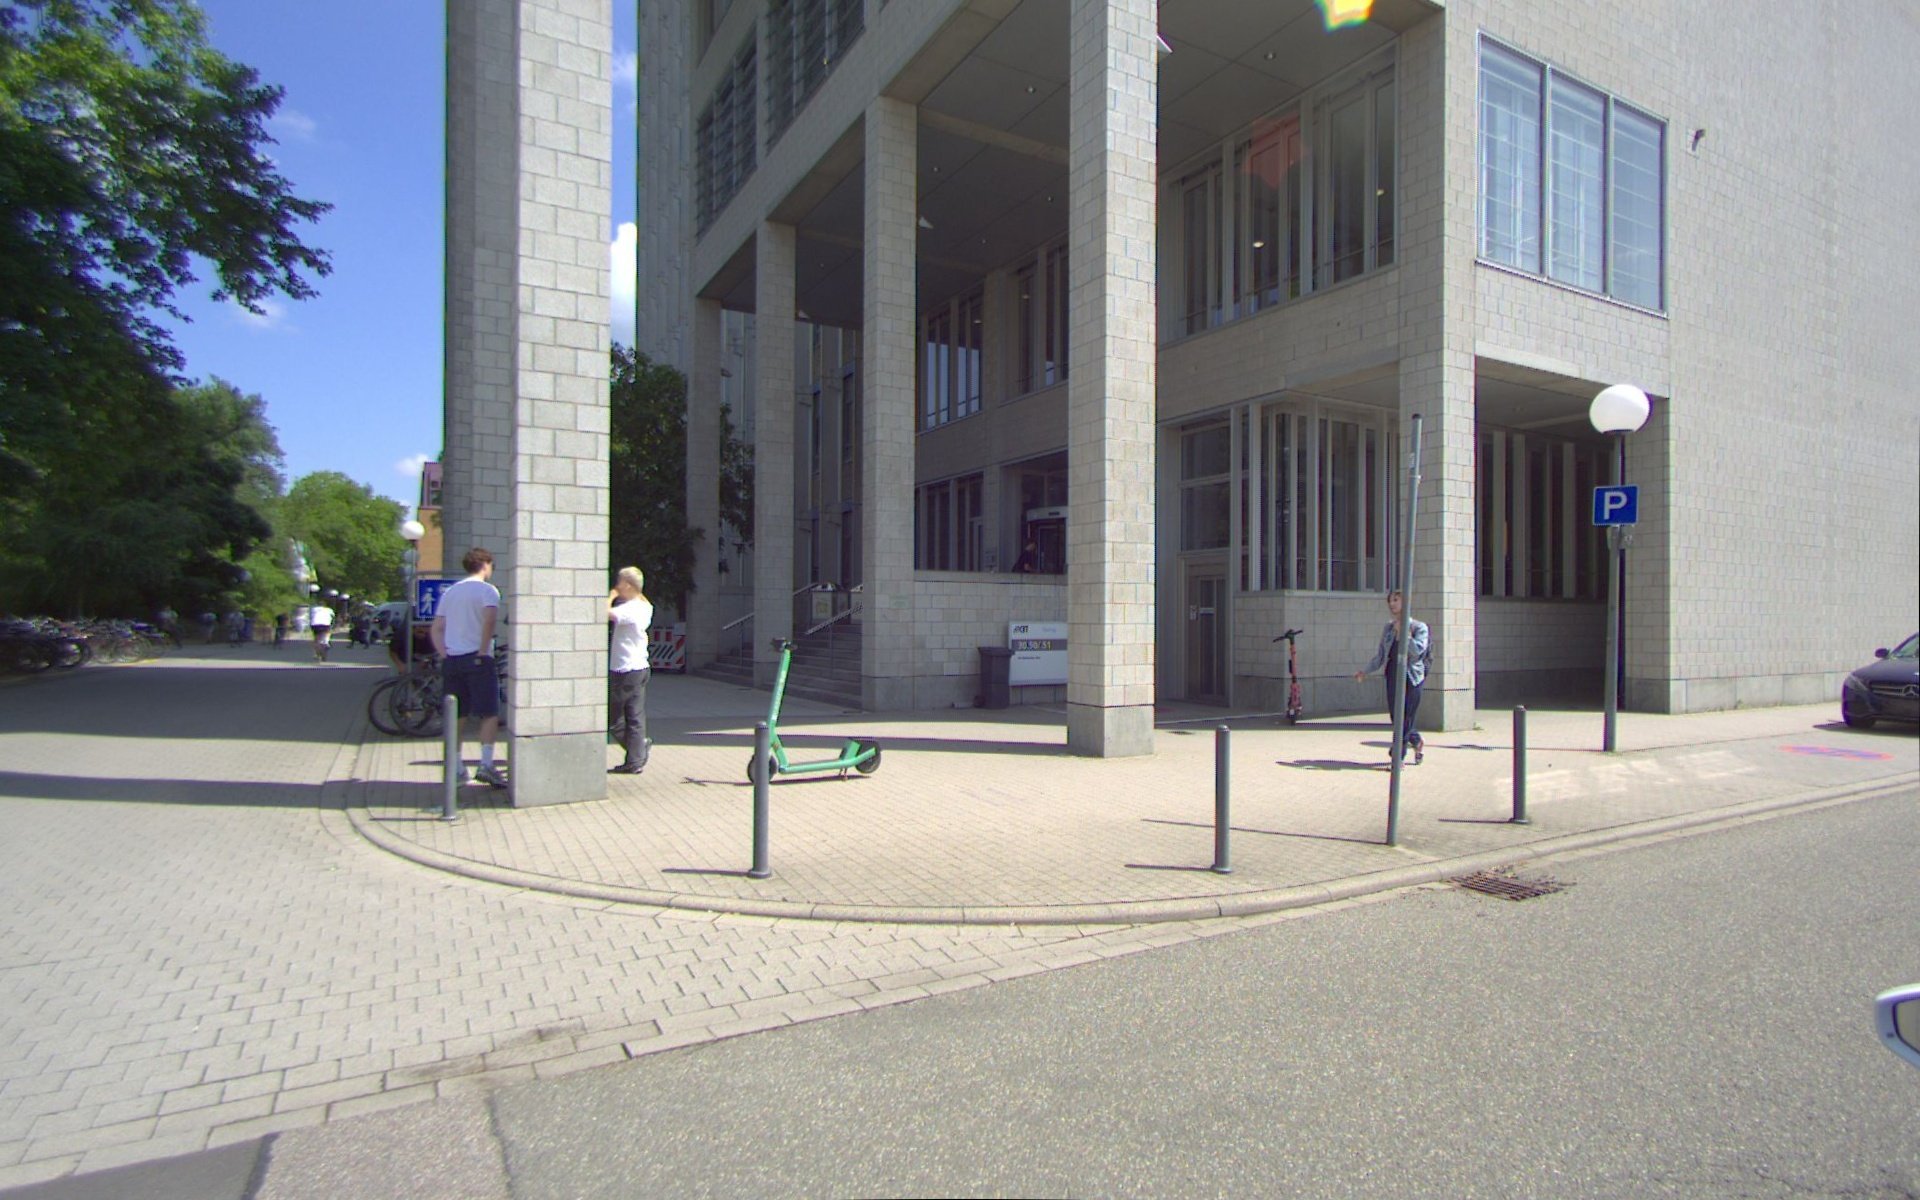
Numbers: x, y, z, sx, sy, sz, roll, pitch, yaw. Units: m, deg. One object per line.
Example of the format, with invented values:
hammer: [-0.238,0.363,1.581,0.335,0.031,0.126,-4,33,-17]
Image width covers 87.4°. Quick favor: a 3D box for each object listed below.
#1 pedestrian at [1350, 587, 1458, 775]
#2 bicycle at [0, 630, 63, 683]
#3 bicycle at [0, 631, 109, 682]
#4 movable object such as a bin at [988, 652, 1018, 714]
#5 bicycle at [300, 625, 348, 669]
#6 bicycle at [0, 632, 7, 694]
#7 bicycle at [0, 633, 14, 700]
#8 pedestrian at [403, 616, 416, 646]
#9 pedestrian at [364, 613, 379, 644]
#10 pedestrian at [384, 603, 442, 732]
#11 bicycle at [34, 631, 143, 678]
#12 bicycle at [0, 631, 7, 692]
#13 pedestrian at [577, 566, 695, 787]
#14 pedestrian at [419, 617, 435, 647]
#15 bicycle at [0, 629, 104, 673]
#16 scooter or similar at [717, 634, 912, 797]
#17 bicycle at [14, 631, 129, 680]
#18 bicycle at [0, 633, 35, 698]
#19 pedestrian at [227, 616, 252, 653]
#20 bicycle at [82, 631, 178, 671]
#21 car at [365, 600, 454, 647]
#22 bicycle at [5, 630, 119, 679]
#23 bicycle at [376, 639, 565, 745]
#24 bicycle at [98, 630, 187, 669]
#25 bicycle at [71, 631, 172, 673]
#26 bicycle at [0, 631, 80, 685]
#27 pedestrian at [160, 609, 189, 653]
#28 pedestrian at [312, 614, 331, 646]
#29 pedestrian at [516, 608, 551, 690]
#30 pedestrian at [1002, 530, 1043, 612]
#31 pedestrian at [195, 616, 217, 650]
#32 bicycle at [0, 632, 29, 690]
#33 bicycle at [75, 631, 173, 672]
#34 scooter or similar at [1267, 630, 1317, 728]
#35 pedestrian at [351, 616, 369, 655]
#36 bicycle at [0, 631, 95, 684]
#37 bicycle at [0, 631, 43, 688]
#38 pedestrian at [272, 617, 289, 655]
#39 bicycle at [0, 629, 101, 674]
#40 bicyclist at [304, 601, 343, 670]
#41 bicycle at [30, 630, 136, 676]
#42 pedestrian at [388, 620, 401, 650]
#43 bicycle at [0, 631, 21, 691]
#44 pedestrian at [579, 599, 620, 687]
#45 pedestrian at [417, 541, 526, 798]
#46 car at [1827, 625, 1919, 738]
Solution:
pedestrian: [4.310,0.753,9.748,0.882,1.724,0.644,1,-1,-40]
bicycle: [-19.871,1.153,20.611,2.104,1.082,0.495,1,-1,-31]
bicycle: [-20.663,1.264,22.812,1.949,1.101,0.549,1,1,-30]
movable object such as a bin: [0.646,1.251,15.200,0.444,0.906,0.167,1,-1,-35]
bicycle: [-19.079,1.387,30.168,0.873,1.215,2.732,1,-1,-25]
bicycle: [-17.929,1.114,17.419,1.949,1.101,0.549,1,1,-30]
bicycle: [-16.981,1.104,16.548,1.949,1.101,0.549,1,1,-30]
pedestrian: [-29.972,1.693,54.726,0.595,1.627,0.627,1,0,-30]
pedestrian: [-32.262,1.559,55.048,0.516,1.689,0.600,0,-1,-13]
pedestrian: [-6.205,0.752,11.382,0.440,1.401,0.462,-3,1,-39]
bicycle: [-21.583,1.327,24.918,1.949,1.101,0.549,1,1,-30]
bicycle: [-18.409,1.121,17.914,1.949,1.101,0.549,1,1,-30]
pedestrian: [-2.779,0.629,8.647,0.625,1.799,0.736,0,-1,28]
pedestrian: [-29.620,1.769,55.822,0.627,1.627,0.595,1,-1,-40]
bicycle: [-24.130,1.334,26.728,1.949,1.101,0.614,1,1,-30]
scooter or similar: [-1.189,0.908,8.289,1.528,1.240,0.453,1,-1,-26]
bicycle: [-20.908,1.294,23.678,1.949,1.101,0.549,1,1,-30]
bicycle: [-17.204,1.124,17.171,1.949,1.101,0.549,1,1,-30]
pedestrian: [-32.215,1.535,44.920,0.770,1.637,0.722,2,-1,-26]
bicycle: [-22.625,1.384,27.438,1.953,1.037,0.613,1,1,-35]
car: [-33.668,1.417,61.456,4.582,2.813,1.981,1,-1,-35]
bicycle: [-21.484,1.294,24.080,1.949,1.101,0.549,1,1,-30]
bicycle: [-5.430,0.994,11.226,1.839,1.028,0.463,-1,1,-26]
bicycle: [-24.109,1.451,29.662,1.949,1.101,0.549,1,1,-30]
bicycle: [-21.959,1.355,26.352,1.953,1.037,0.613,1,1,-35]
bicycle: [-20.023,1.218,21.301,1.949,1.101,0.549,1,1,-30]
pedestrian: [-30.632,1.204,39.172,0.591,1.718,0.632,0,0,-3]
pedestrian: [-28.286,1.318,44.516,0.536,1.421,0.483,0,-1,-8]
pedestrian: [-8.650,0.981,20.357,0.590,1.614,0.824,1,-1,-27]
pedestrian: [1.309,-0.598,21.104,0.683,1.683,0.632,0,0,-18]
pedestrian: [-35.265,1.542,46.998,0.751,1.617,0.392,1,-1,-30]
bicycle: [-19.170,1.166,19.179,1.949,1.101,0.549,1,1,-30]
bicycle: [-22.339,1.367,26.890,1.953,1.037,0.613,1,1,-35]
scooter or similar: [4.511,1.028,13.620,0.516,1.226,1.557,0,-1,23]
pedestrian: [-28.698,1.707,48.063,0.690,1.865,0.570,1,-1,-27]
bicycle: [-20.243,1.239,21.948,1.949,1.101,0.549,1,1,-30]
bicycle: [-19.471,1.171,19.816,1.949,1.101,0.549,1,1,-30]
pedestrian: [-29.990,1.585,44.320,0.489,1.627,0.585,1,0,-24]
bicycle: [-23.446,1.321,25.836,1.949,1.101,0.614,1,1,-30]
bicyclist: [-19.086,1.059,30.140,0.864,2.040,0.844,1,-1,-25]
bicycle: [-22.166,1.332,25.434,1.949,1.101,0.549,1,1,-30]
pedestrian: [-30.628,1.892,54.359,0.595,1.627,0.627,1,0,-30]
bicycle: [-18.828,1.140,18.648,1.949,1.101,0.549,1,1,-30]
pedestrian: [-7.531,0.889,20.972,0.728,1.814,0.622,1,-1,-28]
pedestrian: [-3.924,0.532,8.084,0.407,1.967,0.661,1,0,32]
car: [14.130,1.093,13.987,4.181,1.446,1.759,1,-1,-28]
